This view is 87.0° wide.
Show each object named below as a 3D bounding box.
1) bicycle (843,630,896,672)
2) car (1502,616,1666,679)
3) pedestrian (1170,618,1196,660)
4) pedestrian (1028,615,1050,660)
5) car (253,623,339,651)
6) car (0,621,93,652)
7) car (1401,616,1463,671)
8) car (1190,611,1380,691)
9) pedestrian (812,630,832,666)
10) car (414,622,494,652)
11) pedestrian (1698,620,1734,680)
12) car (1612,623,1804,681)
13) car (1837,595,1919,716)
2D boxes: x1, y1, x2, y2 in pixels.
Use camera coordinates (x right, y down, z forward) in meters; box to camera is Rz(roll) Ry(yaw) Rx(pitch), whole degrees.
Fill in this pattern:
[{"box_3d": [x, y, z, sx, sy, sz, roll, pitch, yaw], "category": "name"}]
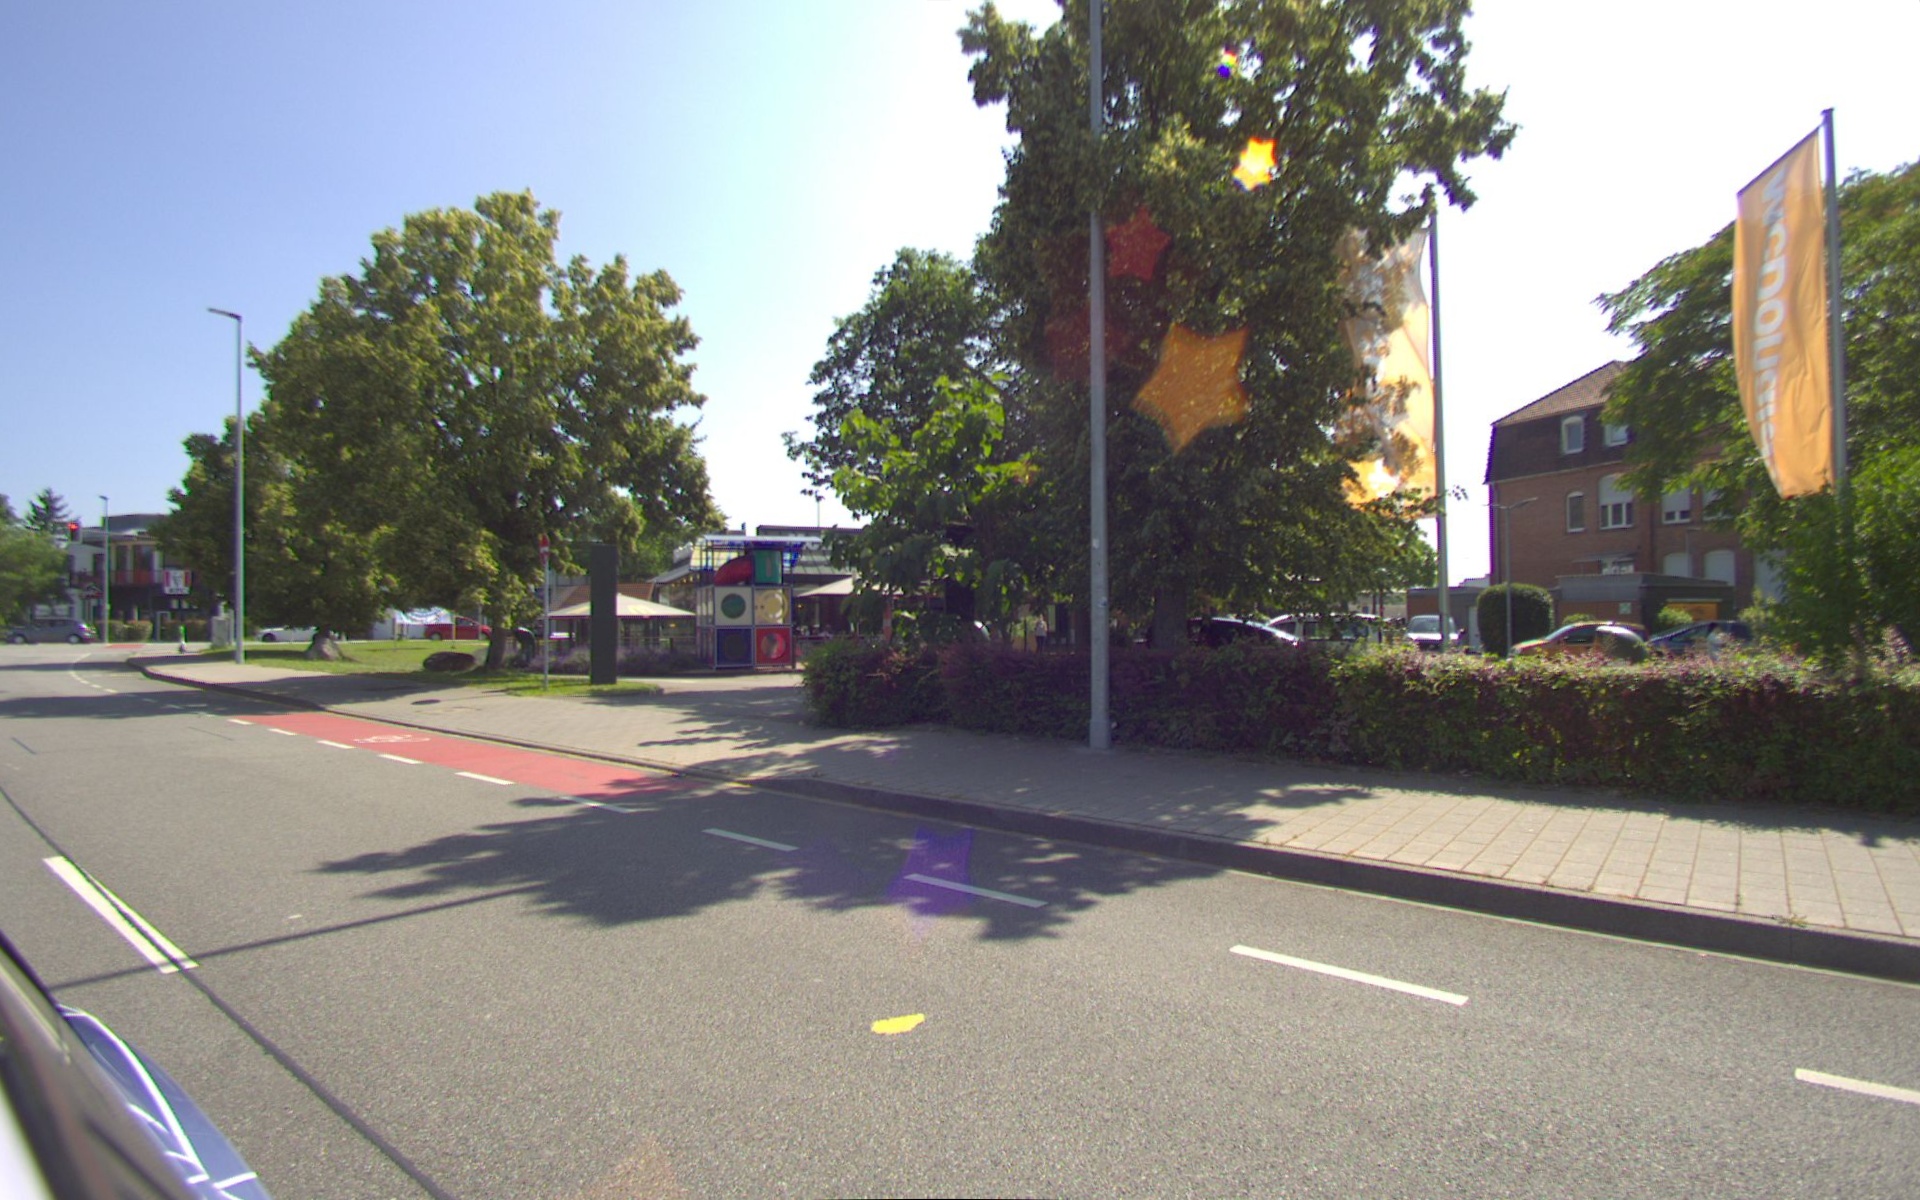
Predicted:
[{"box_3d": [-2.810, 1.580, 31.399, 1.584, 1.195, 0.311, -2, 1, -20], "category": "bicycle"}, {"box_3d": [17.271, 1.284, 28.225, 3.704, 1.644, 1.654, -1, -1, 26], "category": "car"}, {"box_3d": [8.940, 1.542, 40.560, 0.829, 1.650, 0.781, -1, -2, 28], "category": "pedestrian"}, {"box_3d": [2.801, 1.325, 35.847, 0.594, 1.579, 0.566, -1, -1, 26], "category": "pedestrian"}, {"box_3d": [-41.868, 2.300, 63.931, 4.295, 1.638, 1.838, 0, 2, -23], "category": "car"}, {"box_3d": [-53.474, 2.084, 58.867, 4.295, 1.638, 1.838, 0, 2, -23], "category": "car"}, {"box_3d": [14.607, 1.303, 31.336, 1.612, 1.543, 3.581, -1, -1, 25], "category": "car"}, {"box_3d": [7.778, 1.191, 24.505, 4.191, 1.812, 1.750, -1, -1, 17], "category": "car"}, {"box_3d": [-4.964, 1.712, 36.333, 0.543, 1.219, 0.594, -4, 3, -16], "category": "pedestrian"}, {"box_3d": [-30.702, 2.222, 61.557, 4.294, 1.691, 1.838, 0, 2, -24], "category": "car"}, {"box_3d": [20.570, 1.359, 27.540, 0.688, 1.602, 0.504, -1, -1, 29], "category": "pedestrian"}, {"box_3d": [21.442, 1.461, 29.226, 4.150, 1.529, 1.749, -1, -1, 27], "category": "car"}, {"box_3d": [15.536, 0.835, 15.425, 1.735, 1.841, 4.325, -2, -2, 19], "category": "car"}]
